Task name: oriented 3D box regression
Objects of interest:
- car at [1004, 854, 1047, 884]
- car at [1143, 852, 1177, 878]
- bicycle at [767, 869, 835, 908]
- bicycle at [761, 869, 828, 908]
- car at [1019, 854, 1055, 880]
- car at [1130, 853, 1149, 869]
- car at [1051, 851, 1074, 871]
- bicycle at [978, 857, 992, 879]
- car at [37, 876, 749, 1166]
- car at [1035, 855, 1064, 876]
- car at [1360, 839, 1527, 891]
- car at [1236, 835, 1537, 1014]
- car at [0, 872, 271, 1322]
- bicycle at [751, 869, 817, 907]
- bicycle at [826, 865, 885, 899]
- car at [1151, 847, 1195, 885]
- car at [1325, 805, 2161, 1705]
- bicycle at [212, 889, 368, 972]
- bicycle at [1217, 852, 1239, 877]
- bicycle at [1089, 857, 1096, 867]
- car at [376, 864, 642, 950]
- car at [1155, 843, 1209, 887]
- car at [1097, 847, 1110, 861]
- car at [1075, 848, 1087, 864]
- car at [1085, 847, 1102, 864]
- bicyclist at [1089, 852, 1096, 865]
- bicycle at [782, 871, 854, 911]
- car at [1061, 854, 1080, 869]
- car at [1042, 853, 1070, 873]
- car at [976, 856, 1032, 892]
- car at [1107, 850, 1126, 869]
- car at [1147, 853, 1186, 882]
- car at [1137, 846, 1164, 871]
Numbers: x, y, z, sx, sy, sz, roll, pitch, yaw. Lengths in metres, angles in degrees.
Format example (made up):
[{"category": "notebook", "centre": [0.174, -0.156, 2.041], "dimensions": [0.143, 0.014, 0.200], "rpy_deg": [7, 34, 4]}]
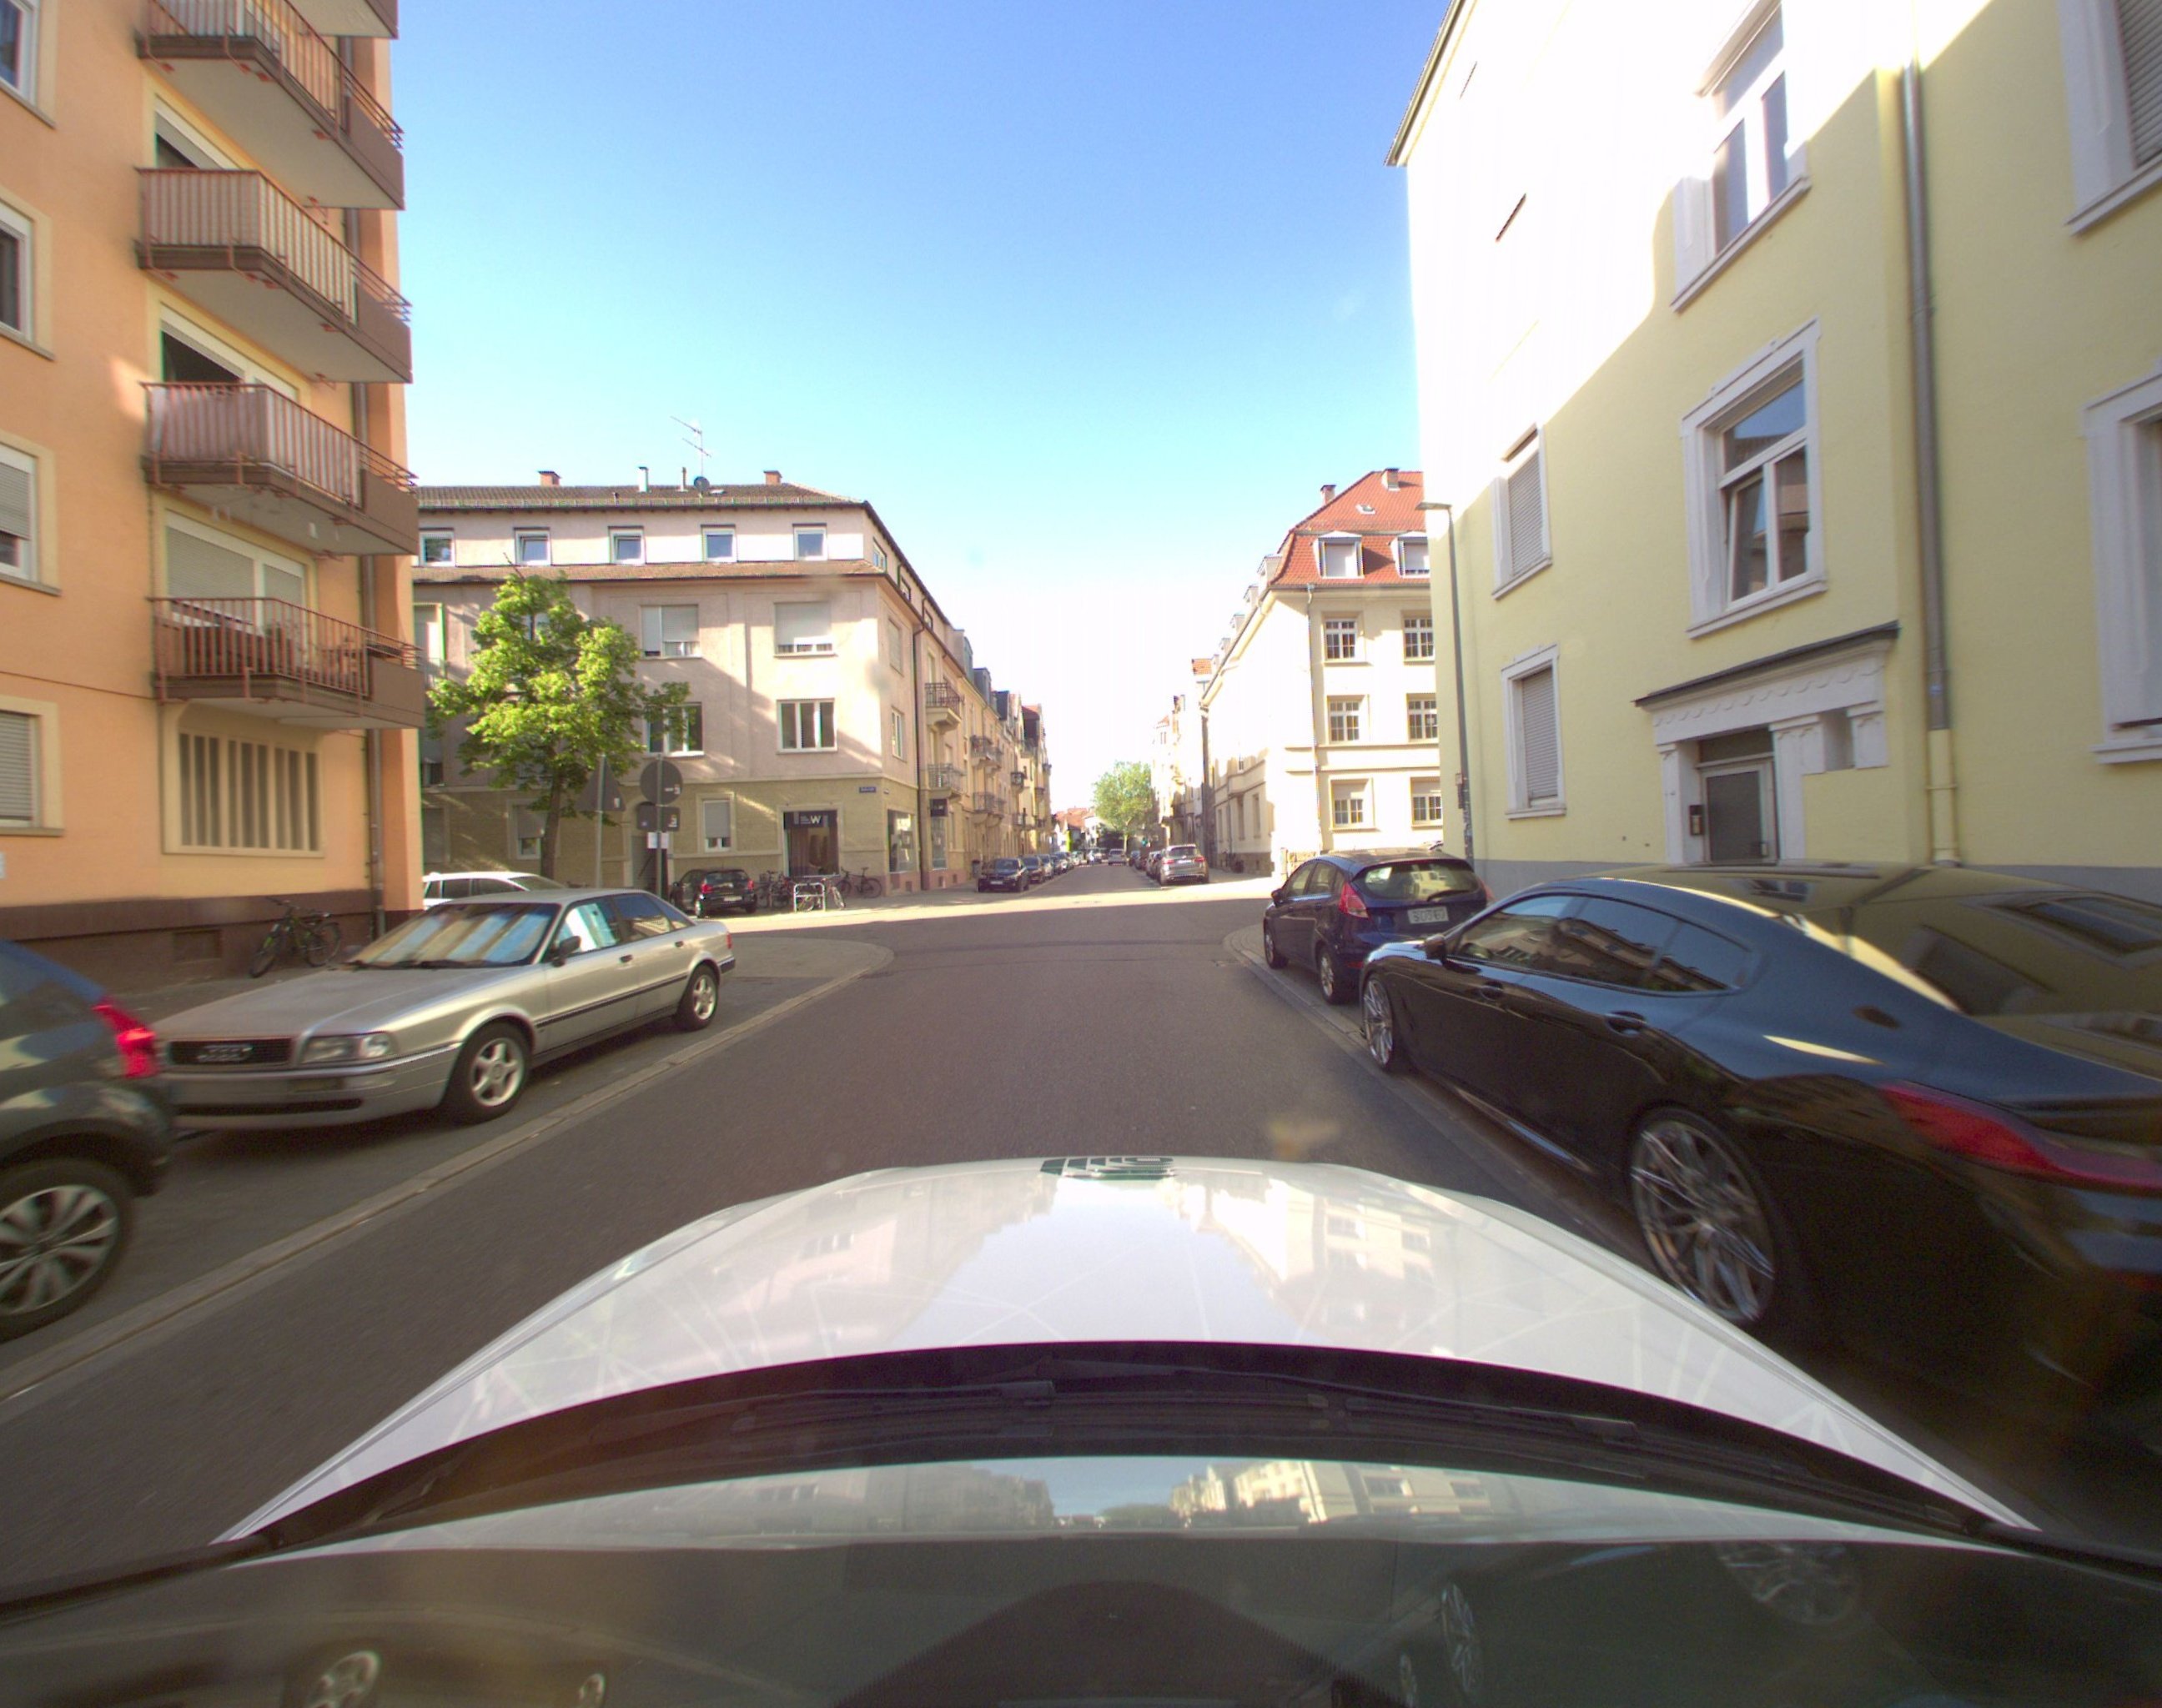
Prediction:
[{"category": "car", "centre": [-3.014, 0.814, 45.121], "dimensions": [1.996, 1.582, 4.488], "rpy_deg": [0, -1, 1]}, {"category": "car", "centre": [4.847, 0.695, 50.243], "dimensions": [1.831, 1.431, 4.031], "rpy_deg": [-3, -2, 2]}, {"category": "bicycle", "centre": [-8.663, 1.064, 25.213], "dimensions": [1.890, 1.135, 0.526], "rpy_deg": [-2, 1, 3]}, {"category": "bicycle", "centre": [-9.039, 1.074, 25.741], "dimensions": [1.892, 1.135, 0.526], "rpy_deg": [-2, 1, -1]}, {"category": "car", "centre": [-2.767, 0.826, 52.404], "dimensions": [1.996, 1.619, 4.488], "rpy_deg": [0, -1, 1]}, {"category": "car", "centre": [5.858, 0.727, 81.866], "dimensions": [1.831, 1.431, 4.031], "rpy_deg": [-3, -2, 2]}, {"category": "car", "centre": [-1.693, 0.694, 77.349], "dimensions": [1.996, 1.788, 4.488], "rpy_deg": [0, -1, 1]}, {"category": "bicycle", "centre": [-5.961, 0.861, 50.506], "dimensions": [0.538, 1.301, 1.868], "rpy_deg": [-1, 0, 3]}, {"category": "car", "centre": [-4.556, 0.947, 6.537], "dimensions": [1.755, 1.377, 4.481], "rpy_deg": [-1, 0, 2]}, {"category": "car", "centre": [-2.359, 0.860, 61.701], "dimensions": [1.972, 1.482, 4.328], "rpy_deg": [0, -1, 1]}, {"category": "car", "centre": [11.551, 0.372, 26.098], "dimensions": [4.530, 1.468, 1.825], "rpy_deg": [-2, -2, -5]}, {"category": "car", "centre": [3.125, 0.628, 9.321], "dimensions": [1.758, 1.470, 4.082], "rpy_deg": [-4, 0, -1]}, {"category": "car", "centre": [-4.574, 0.868, 1.661], "dimensions": [1.757, 1.502, 4.000], "rpy_deg": [-2, 0, 1]}, {"category": "bicycle", "centre": [-9.583, 1.087, 26.347], "dimensions": [1.892, 1.135, 0.526], "rpy_deg": [-2, 1, -1]}, {"category": "bicycle", "centre": [-8.000, 0.977, 28.956], "dimensions": [1.895, 1.135, 0.647], "rpy_deg": [-1, 1, -6]}, {"category": "car", "centre": [4.341, 0.567, 38.791], "dimensions": [1.738, 1.608, 4.031], "rpy_deg": [-3, -1, 2]}, {"category": "car", "centre": [2.776, 0.635, 3.864], "dimensions": [1.794, 1.470, 5.115], "rpy_deg": [-4, 0, 2]}, {"category": "bicycle", "centre": [-11.646, 1.090, 12.092], "dimensions": [0.502, 1.064, 1.891], "rpy_deg": [1, 0, -2]}, {"category": "bicycle", "centre": [7.817, 0.538, 43.465], "dimensions": [0.758, 1.246, 2.593], "rpy_deg": [-2, 0, 2]}, {"category": "bicycle", "centre": [1.242, 0.898, 89.548], "dimensions": [0.660, 1.019, 2.067], "rpy_deg": [-3, -1, 1]}, {"category": "car", "centre": [-12.331, 1.096, 17.814], "dimensions": [4.427, 1.592, 1.724], "rpy_deg": [-2, 0, -6]}, {"category": "car", "centre": [4.160, 0.489, 34.171], "dimensions": [1.905, 1.645, 4.778], "rpy_deg": [-3, -2, 4]}, {"category": "car", "centre": [3.546, 0.032, 127.648], "dimensions": [1.996, 2.000, 4.488], "rpy_deg": [0, -1, 1]}, {"category": "car", "centre": [0.030, 0.369, 147.562], "dimensions": [1.831, 2.534, 4.178], "rpy_deg": [-3, -2, 2]}, {"category": "car", "centre": [1.522, 0.182, 98.062], "dimensions": [1.996, 2.000, 4.488], "rpy_deg": [0, -1, 1]}, {"category": "bicyclist", "centre": [1.231, 0.489, 89.571], "dimensions": [0.660, 1.385, 0.754], "rpy_deg": [-3, -1, 1]}, {"category": "bicycle", "centre": [-7.889, 1.111, 24.468], "dimensions": [1.890, 1.135, 0.649], "rpy_deg": [-1, 1, 3]}, {"category": "car", "centre": [-1.117, 0.839, 92.134], "dimensions": [1.996, 1.605, 4.488], "rpy_deg": [0, -1, 1]}, {"category": "car", "centre": [-2.018, 0.732, 66.354], "dimensions": [1.996, 1.619, 4.488], "rpy_deg": [0, -1, 1]}, {"category": "car", "centre": [-3.207, 0.843, 34.734], "dimensions": [1.672, 1.426, 4.278], "rpy_deg": [0, -1, 4]}, {"category": "car", "centre": [3.821, 0.592, 87.712], "dimensions": [1.996, 1.914, 4.489], "rpy_deg": [0, -1, 2]}, {"category": "car", "centre": [4.666, 0.755, 44.849], "dimensions": [1.831, 1.431, 4.031], "rpy_deg": [-3, -2, 2]}, {"category": "car", "centre": [5.365, 0.379, 63.043], "dimensions": [1.831, 1.787, 4.031], "rpy_deg": [-2, -2, 2]}]
